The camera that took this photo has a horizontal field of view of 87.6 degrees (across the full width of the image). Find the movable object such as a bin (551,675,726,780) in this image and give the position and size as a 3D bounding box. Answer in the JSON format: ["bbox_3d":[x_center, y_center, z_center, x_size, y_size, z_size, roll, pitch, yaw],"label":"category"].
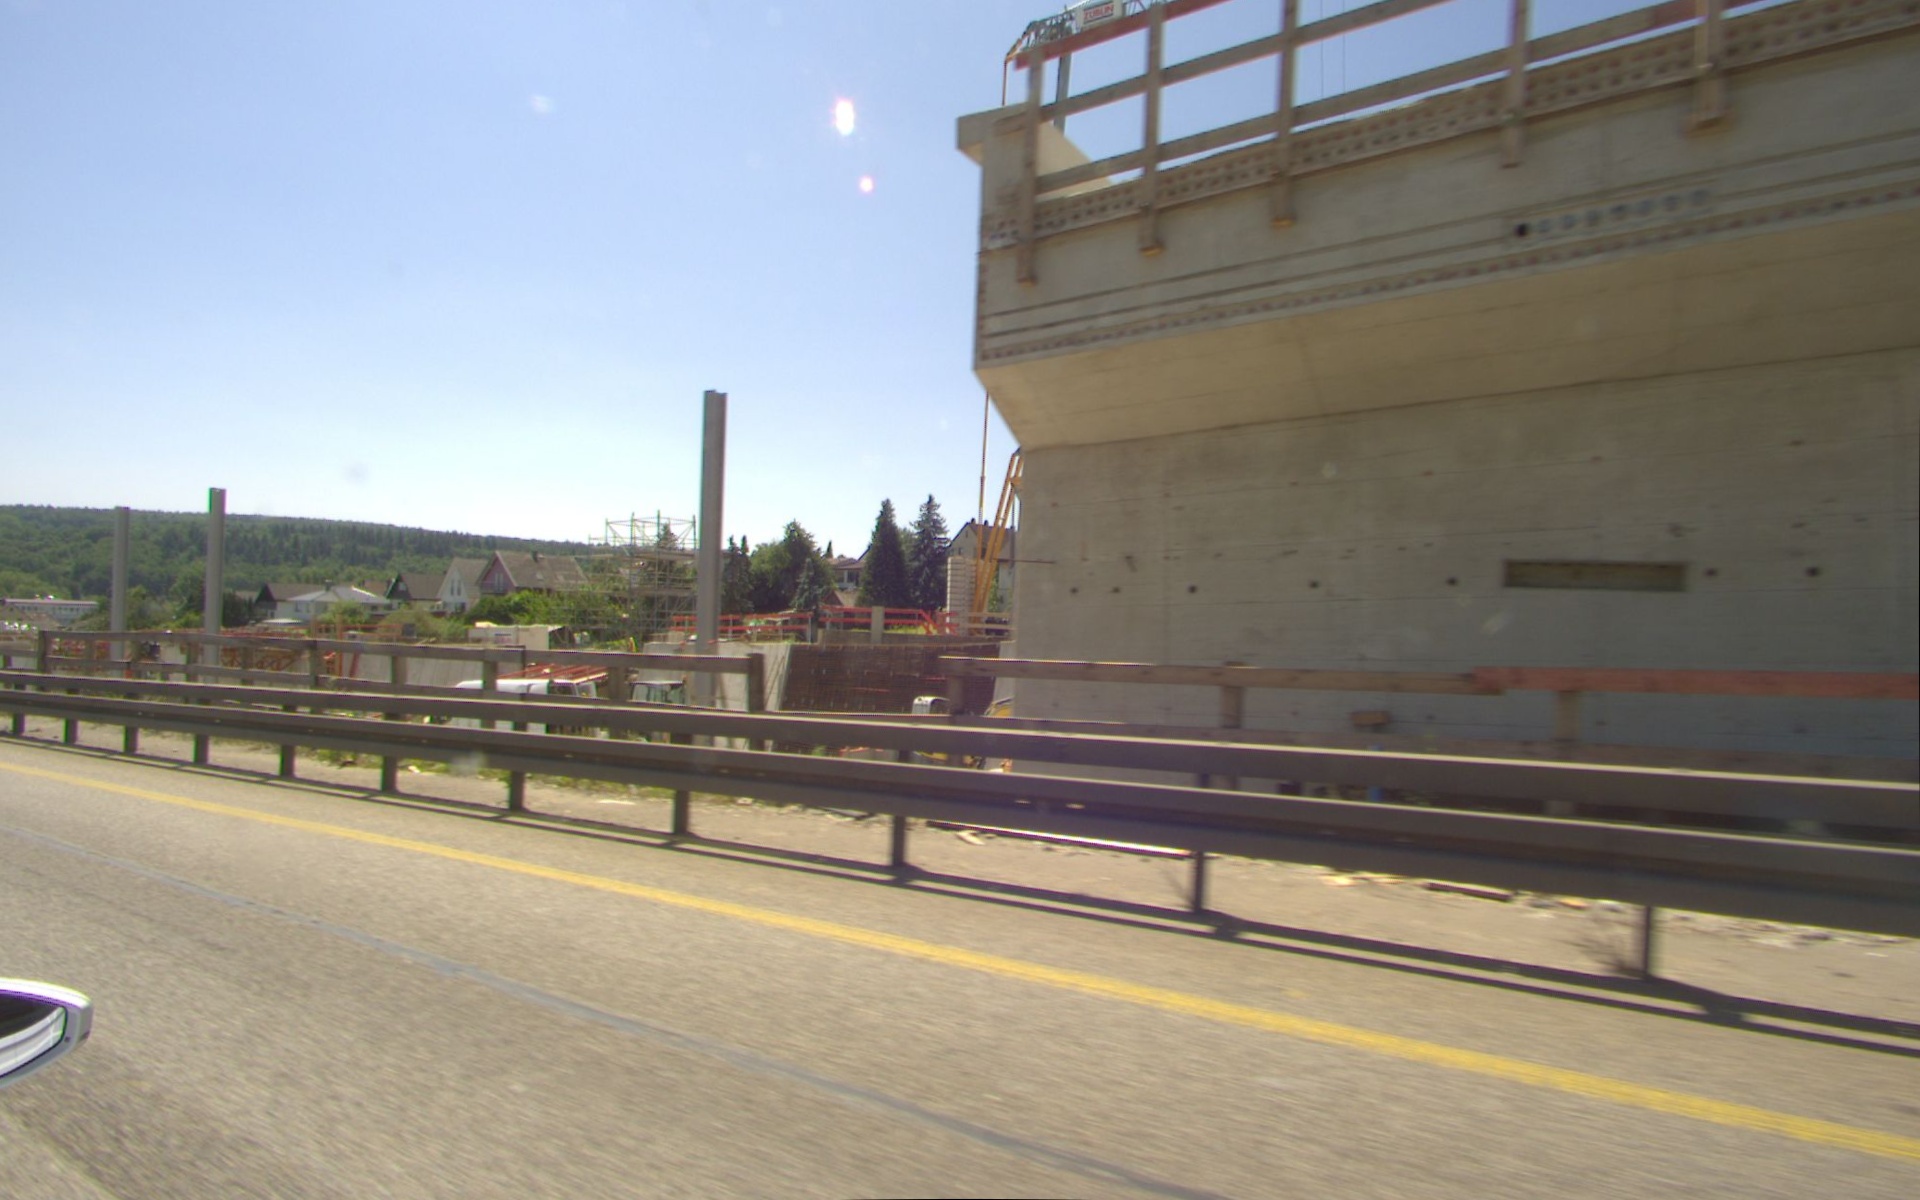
[{"bbox_3d":[-9.508,3.613,29.402,5.430,2.710,2.138,-2,-2,36],"label":"movable object such as a bin"}]

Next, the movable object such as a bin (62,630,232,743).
[{"bbox_3d":[-37.875,3.873,46.515,9.518,4.803,3.222,-2,-2,32],"label":"movable object such as a bin"}]

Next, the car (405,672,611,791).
[{"bbox_3d":[-12.873,3.536,28.243,6.931,2.892,2.139,-2,-2,36],"label":"car"}]

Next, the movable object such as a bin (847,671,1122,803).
[{"bbox_3d":[0.812,3.984,28.869,7.081,2.931,3.475,12,-9,-35],"label":"movable object such as a bin"}]

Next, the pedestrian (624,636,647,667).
[{"bbox_3d":[-21.365,3.386,65.936,0.960,2.013,1.134,-2,-2,35],"label":"pedestrian"}]
